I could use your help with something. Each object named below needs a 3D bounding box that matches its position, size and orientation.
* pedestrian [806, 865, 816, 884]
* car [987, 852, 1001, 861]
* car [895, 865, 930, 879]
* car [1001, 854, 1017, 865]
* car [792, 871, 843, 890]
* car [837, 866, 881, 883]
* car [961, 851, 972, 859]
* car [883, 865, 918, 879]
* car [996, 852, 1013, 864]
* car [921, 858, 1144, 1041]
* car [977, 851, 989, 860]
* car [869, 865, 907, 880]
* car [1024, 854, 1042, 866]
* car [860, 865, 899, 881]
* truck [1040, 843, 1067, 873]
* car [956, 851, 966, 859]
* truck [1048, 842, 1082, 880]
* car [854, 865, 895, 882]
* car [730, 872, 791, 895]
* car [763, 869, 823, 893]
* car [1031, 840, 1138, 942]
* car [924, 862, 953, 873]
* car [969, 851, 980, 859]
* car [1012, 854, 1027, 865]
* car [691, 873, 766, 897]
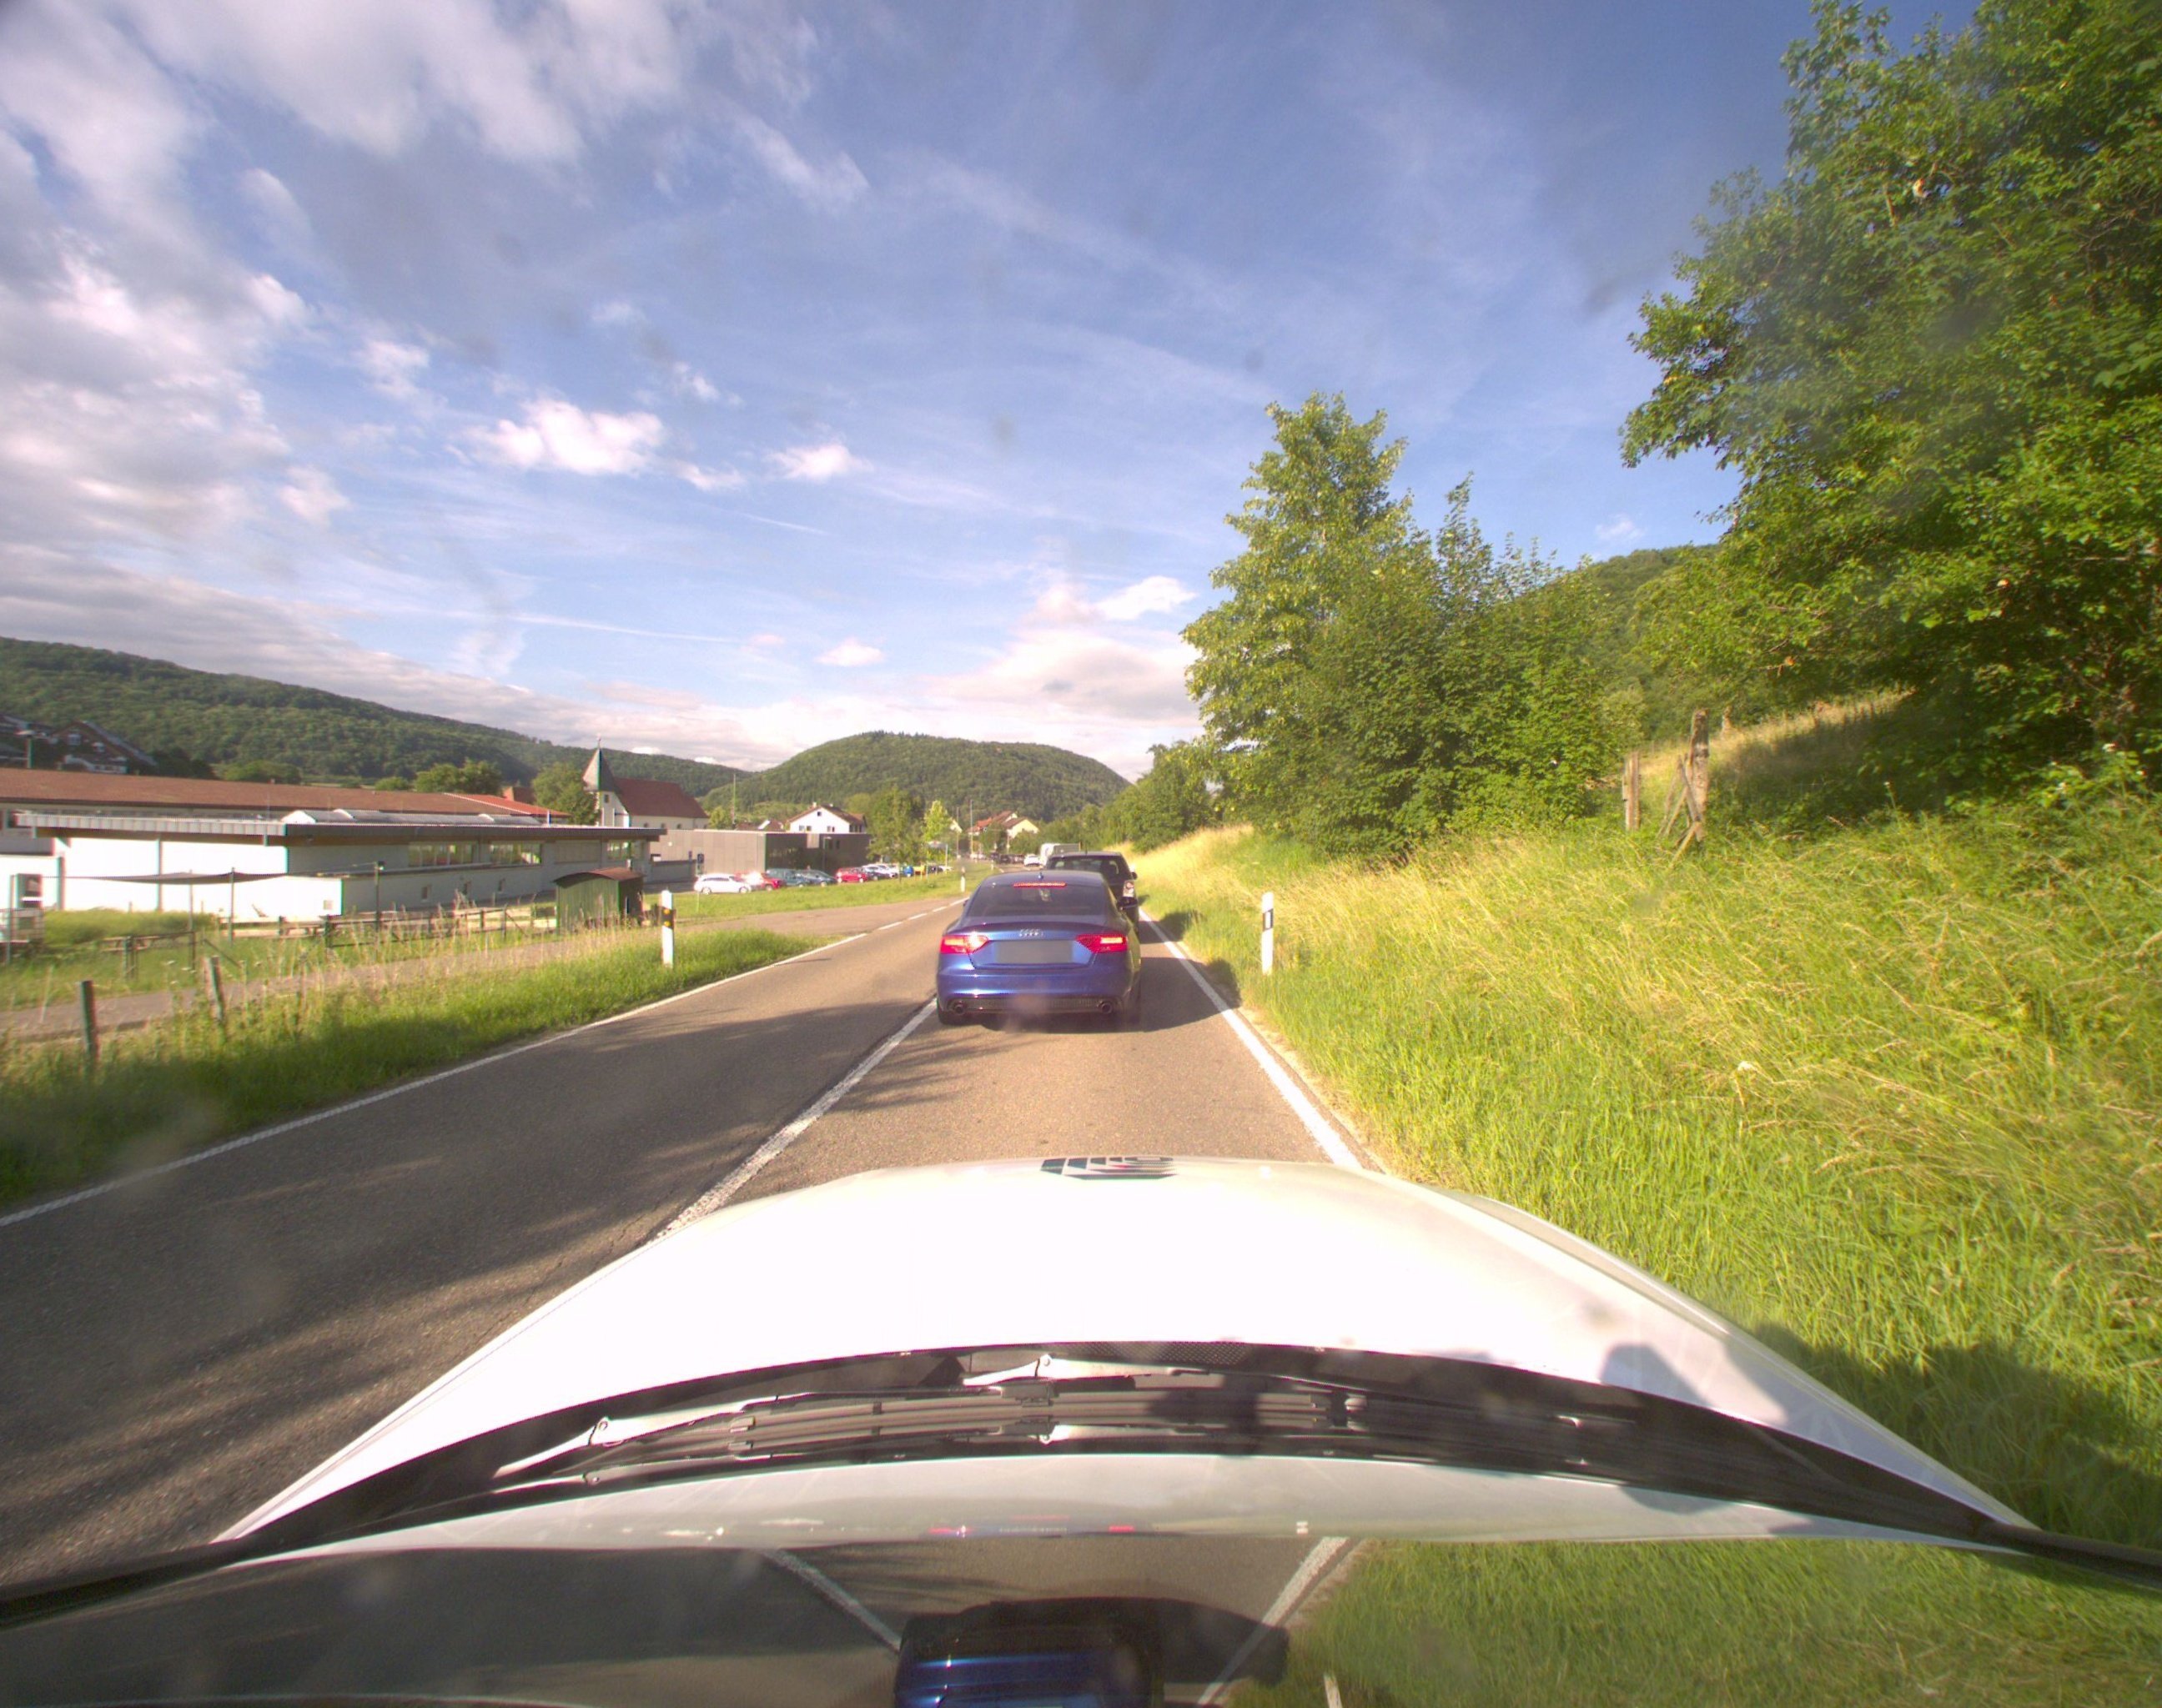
[{"bbox_3d":[-29.064,2.221,87.678,0.822,2.014,0.973,0,-1,1],"label":"pedestrian"},{"bbox_3d":[-16.141,0.450,150.865,1.850,1.712,3.977,0,-1,-17],"label":"car"},{"bbox_3d":[-21.646,2.262,104.692,3.975,1.711,1.999,0,-1,-1],"label":"car"},{"bbox_3d":[-11.682,0.897,132.024,1.849,1.712,3.979,0,-1,-15],"label":"car"},{"bbox_3d":[-24.096,2.422,74.481,3.975,1.711,1.999,0,-1,-1],"label":"car"},{"bbox_3d":[-23.099,2.091,84.763,3.975,1.711,1.999,0,-1,-1],"label":"car"},{"bbox_3d":[-25.797,0.214,183.023,1.849,1.712,3.978,0,-1,-16],"label":"car"},{"bbox_3d":[-22.561,2.245,102.038,3.975,1.711,1.999,0,-1,-1],"label":"car"},{"bbox_3d":[-11.304,0.654,120.184,1.849,1.712,3.979,0,-1,-15],"label":"car"},{"bbox_3d":[-0.292,0.772,8.341,1.747,1.430,3.849,0,-1,3],"label":"car"},{"bbox_3d":[-19.999,0.308,166.580,1.849,1.712,3.978,0,-1,-16],"label":"car"},{"bbox_3d":[-22.806,2.194,96.253,3.975,1.711,1.999,0,-1,-1],"label":"car"},{"bbox_3d":[-6.165,0.783,103.775,1.845,1.482,3.987,0,-1,-9],"label":"car"},{"bbox_3d":[-23.013,2.165,92.971,3.975,1.711,1.999,0,-1,-1],"label":"car"},{"bbox_3d":[-2.531,0.352,73.737,2.225,2.570,6.698,0,-1,-4],"label":"truck"},{"bbox_3d":[-28.288,0.258,192.560,1.849,1.712,3.978,0,-1,-16],"label":"car"},{"bbox_3d":[-1.094,0.476,58.266,2.222,2.570,6.102,0,-1,0],"label":"truck"},{"bbox_3d":[-22.654,2.129,89.304,3.975,1.711,1.999,0,-1,-1],"label":"car"},{"bbox_3d":[-25.211,2.336,64.187,3.975,1.711,1.999,0,-1,-1],"label":"car"},{"bbox_3d":[-24.711,2.317,69.991,4.393,2.008,1.999,0,-1,-1],"label":"car"},{"bbox_3d":[0.154,0.627,15.346,1.747,1.681,3.849,0,-1,3],"label":"car"},{"bbox_3d":[-20.815,1.945,119.250,3.975,1.579,1.752,0,-1,-1],"label":"car"},{"bbox_3d":[-23.014,0.207,175.395,1.849,1.712,3.978,0,-1,-16],"label":"car"},{"bbox_3d":[-9.183,0.817,121.449,1.847,1.712,3.983,0,-1,-12],"label":"car"},{"bbox_3d":[-26.434,2.318,61.206,4.716,1.711,1.999,0,-1,-1],"label":"car"}]
